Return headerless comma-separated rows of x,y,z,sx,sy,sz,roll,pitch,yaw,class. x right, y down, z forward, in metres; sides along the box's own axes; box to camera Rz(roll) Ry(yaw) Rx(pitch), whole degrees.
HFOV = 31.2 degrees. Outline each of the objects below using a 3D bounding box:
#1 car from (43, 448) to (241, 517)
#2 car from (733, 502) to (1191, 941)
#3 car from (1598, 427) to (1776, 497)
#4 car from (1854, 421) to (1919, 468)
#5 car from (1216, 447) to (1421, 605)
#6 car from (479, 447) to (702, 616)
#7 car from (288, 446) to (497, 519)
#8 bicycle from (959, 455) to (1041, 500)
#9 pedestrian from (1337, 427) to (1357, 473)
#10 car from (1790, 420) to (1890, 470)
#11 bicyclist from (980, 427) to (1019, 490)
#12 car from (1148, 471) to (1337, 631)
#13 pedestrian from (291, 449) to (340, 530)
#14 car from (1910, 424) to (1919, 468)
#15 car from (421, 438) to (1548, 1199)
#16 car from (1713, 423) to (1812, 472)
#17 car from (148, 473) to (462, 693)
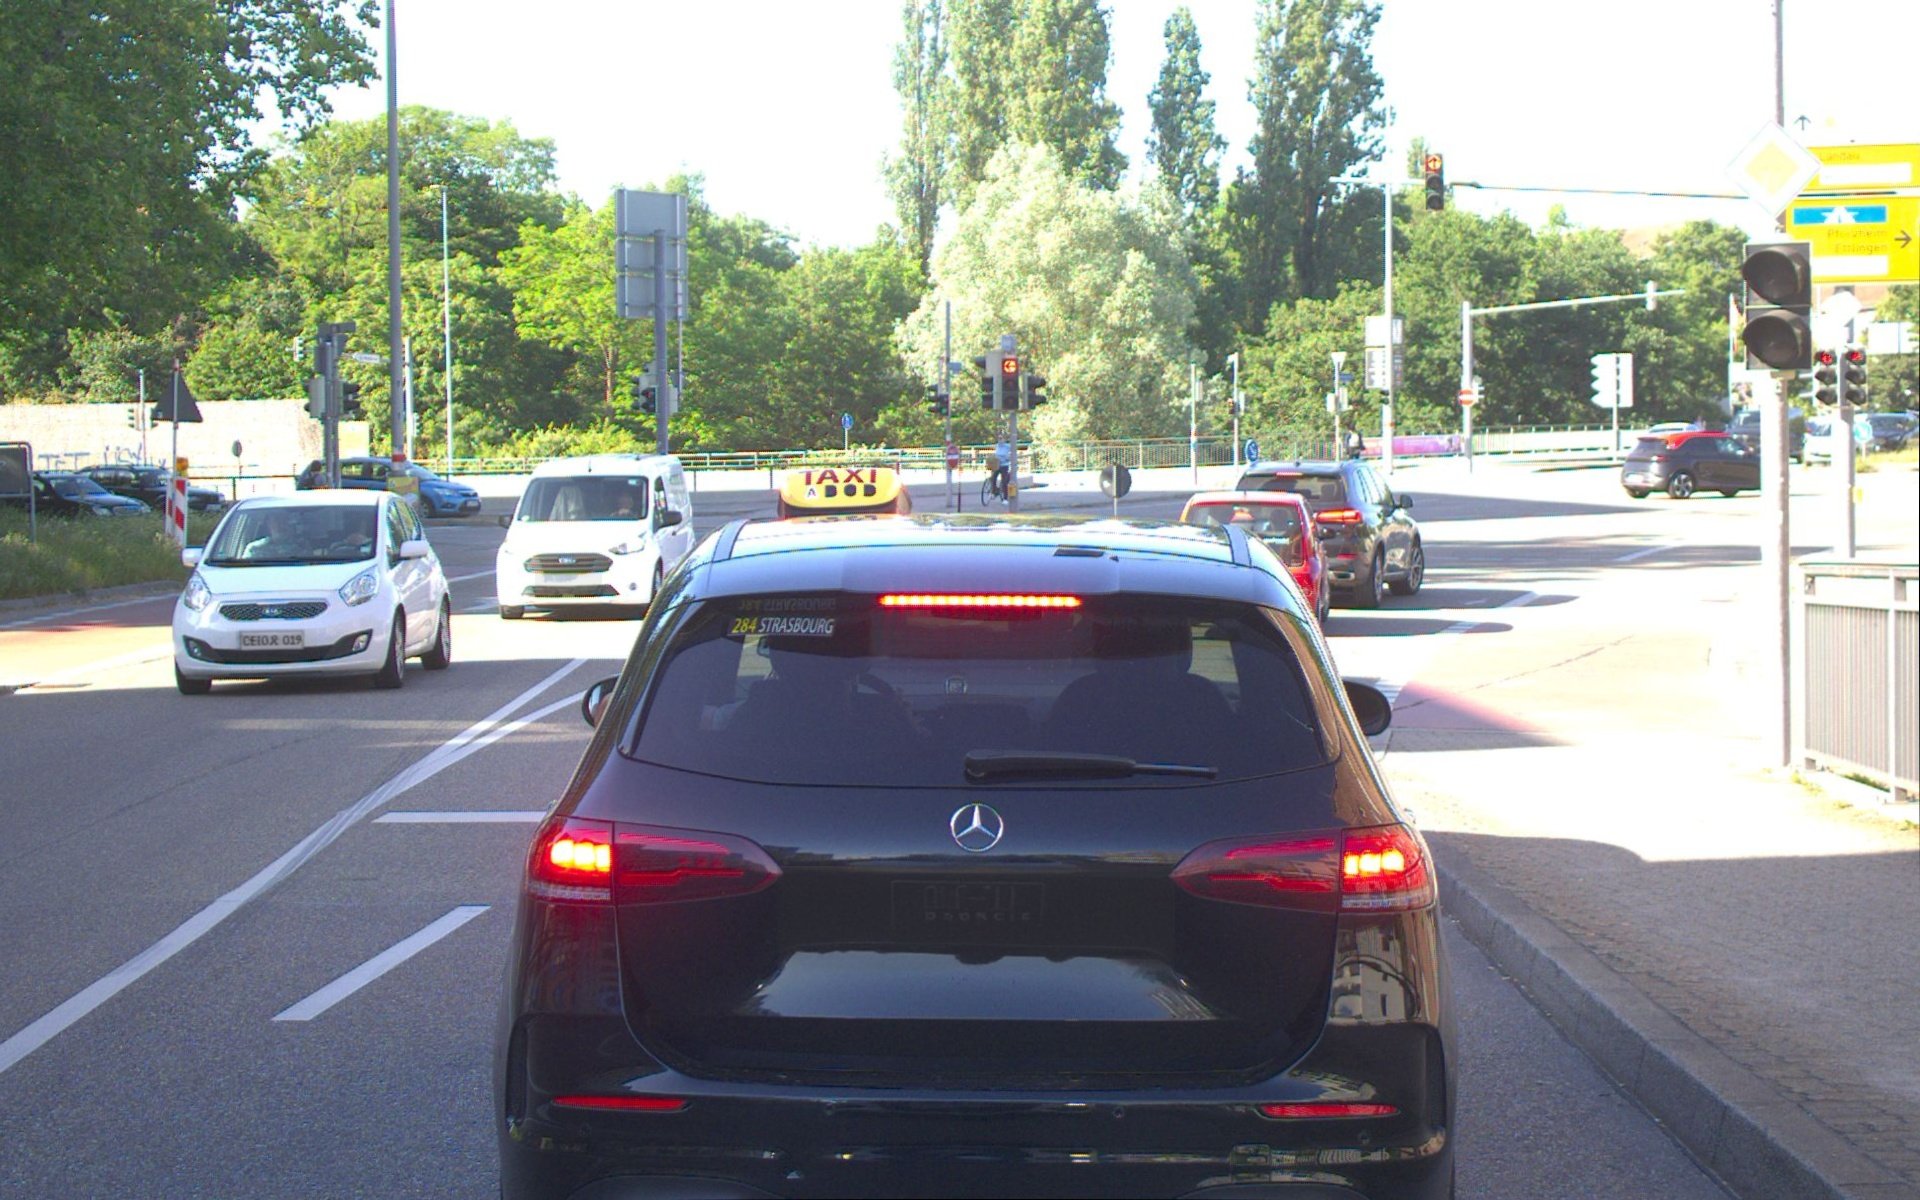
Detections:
-19.649,-2.820,82.598,4.403,1.624,1.888,0,2,26,car
0.037,0.399,14.318,1.640,1.524,3.474,-1,2,1,car
17.572,-3.334,83.069,3.987,1.624,1.891,-2,3,-31,car
32.209,-5.336,117.565,1.882,1.573,3.992,1,3,35,car
4.478,-0.956,42.416,1.723,1.805,4.294,0,3,17,car
-4.224,-0.861,40.078,1.918,1.788,4.899,-2,3,1,car
-13.159,-2.725,79.742,4.401,1.624,1.889,0,2,21,car
0.991,-3.067,86.053,1.983,1.046,0.527,-3,2,-24,bicycle
13.389,-5.205,119.029,0.451,1.580,0.500,0,3,40,pedestrian
28.778,-5.066,112.371,1.882,1.573,3.992,1,3,35,car
0.989,-3.549,86.023,0.804,1.545,0.527,-3,2,-24,bicyclist
3.066,-0.562,36.802,1.722,1.516,3.485,0,4,10,car
-12.224,-2.093,65.219,0.705,1.520,0.743,1,2,10,pedestrian
35.794,-5.581,123.735,1.882,1.573,3.992,1,3,35,car
-0.006,0.489,7.770,1.877,1.608,4.001,1,2,-1,car
26.957,-5.116,115.466,1.882,1.573,3.992,1,3,35,car
-5.350,-0.204,28.554,1.778,1.629,4.001,-2,2,0,car
